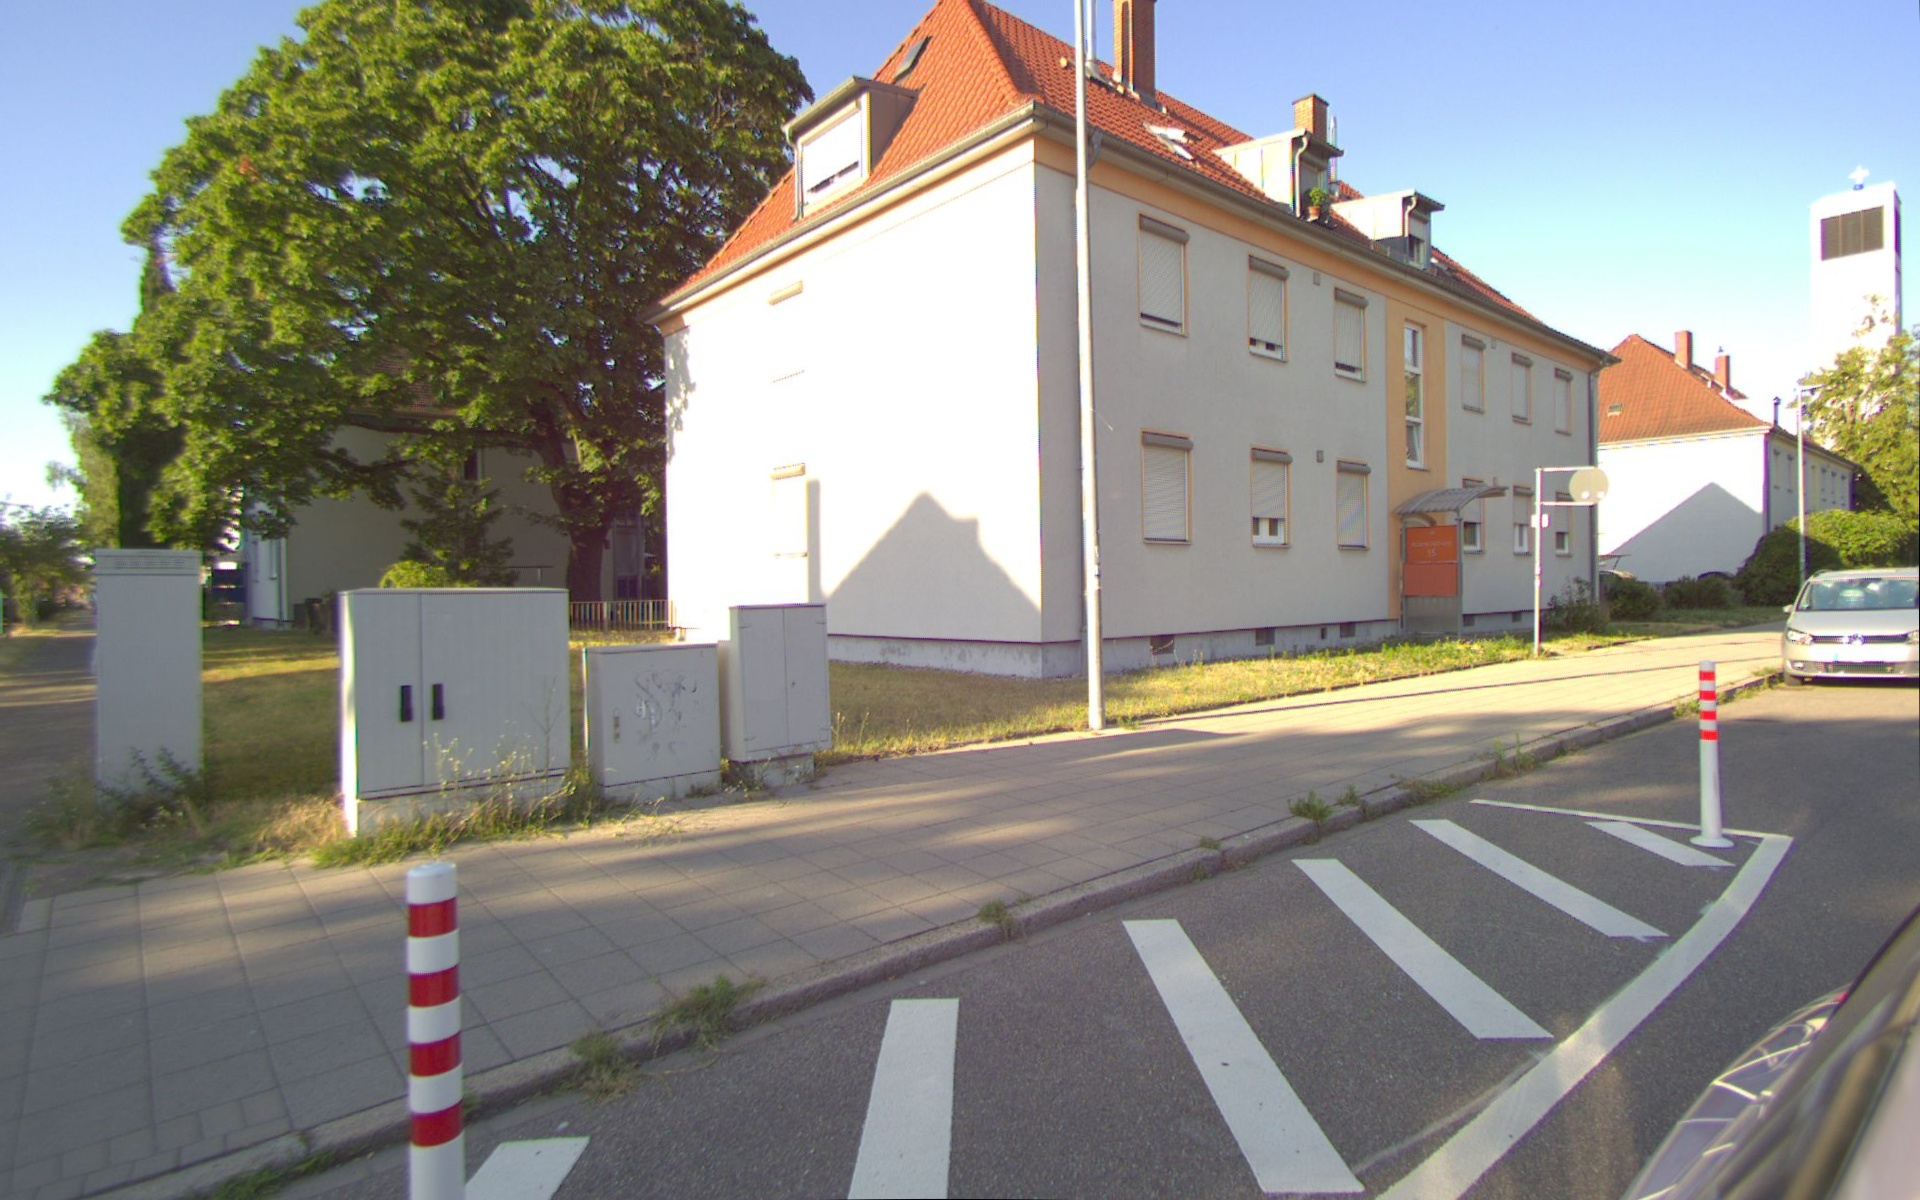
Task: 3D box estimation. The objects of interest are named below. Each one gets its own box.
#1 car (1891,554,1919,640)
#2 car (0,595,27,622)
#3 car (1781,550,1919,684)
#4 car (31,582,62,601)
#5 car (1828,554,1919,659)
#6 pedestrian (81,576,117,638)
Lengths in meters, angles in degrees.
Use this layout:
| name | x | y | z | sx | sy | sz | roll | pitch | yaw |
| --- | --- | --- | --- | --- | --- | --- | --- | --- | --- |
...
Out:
| name | x | y | z | sx | sy | sz | roll | pitch | yaw |
| --- | --- | --- | --- | --- | --- | --- | --- | --- | --- |
| car | 21.005 | -0.138 | 21.216 | 3.933 | 1.717 | 1.846 | -2 | 0 | -43 |
| car | -60.225 | 0.544 | 63.799 | 1.940 | 1.634 | 4.236 | -2 | 2 | -44 |
| car | 13.379 | 0.171 | 14.571 | 3.933 | 1.717 | 1.846 | -2 | 0 | -43 |
| car | -79.527 | -0.740 | 88.164 | 1.938 | 1.634 | 4.240 | -2 | 1 | -41 |
| car | 16.885 | 0.055 | 17.908 | 3.933 | 1.717 | 1.846 | -2 | 0 | -43 |
| pedestrian | -29.088 | 0.227 | 34.218 | 0.883 | 2.039 | 0.692 | -1 | 1 | -40 |
